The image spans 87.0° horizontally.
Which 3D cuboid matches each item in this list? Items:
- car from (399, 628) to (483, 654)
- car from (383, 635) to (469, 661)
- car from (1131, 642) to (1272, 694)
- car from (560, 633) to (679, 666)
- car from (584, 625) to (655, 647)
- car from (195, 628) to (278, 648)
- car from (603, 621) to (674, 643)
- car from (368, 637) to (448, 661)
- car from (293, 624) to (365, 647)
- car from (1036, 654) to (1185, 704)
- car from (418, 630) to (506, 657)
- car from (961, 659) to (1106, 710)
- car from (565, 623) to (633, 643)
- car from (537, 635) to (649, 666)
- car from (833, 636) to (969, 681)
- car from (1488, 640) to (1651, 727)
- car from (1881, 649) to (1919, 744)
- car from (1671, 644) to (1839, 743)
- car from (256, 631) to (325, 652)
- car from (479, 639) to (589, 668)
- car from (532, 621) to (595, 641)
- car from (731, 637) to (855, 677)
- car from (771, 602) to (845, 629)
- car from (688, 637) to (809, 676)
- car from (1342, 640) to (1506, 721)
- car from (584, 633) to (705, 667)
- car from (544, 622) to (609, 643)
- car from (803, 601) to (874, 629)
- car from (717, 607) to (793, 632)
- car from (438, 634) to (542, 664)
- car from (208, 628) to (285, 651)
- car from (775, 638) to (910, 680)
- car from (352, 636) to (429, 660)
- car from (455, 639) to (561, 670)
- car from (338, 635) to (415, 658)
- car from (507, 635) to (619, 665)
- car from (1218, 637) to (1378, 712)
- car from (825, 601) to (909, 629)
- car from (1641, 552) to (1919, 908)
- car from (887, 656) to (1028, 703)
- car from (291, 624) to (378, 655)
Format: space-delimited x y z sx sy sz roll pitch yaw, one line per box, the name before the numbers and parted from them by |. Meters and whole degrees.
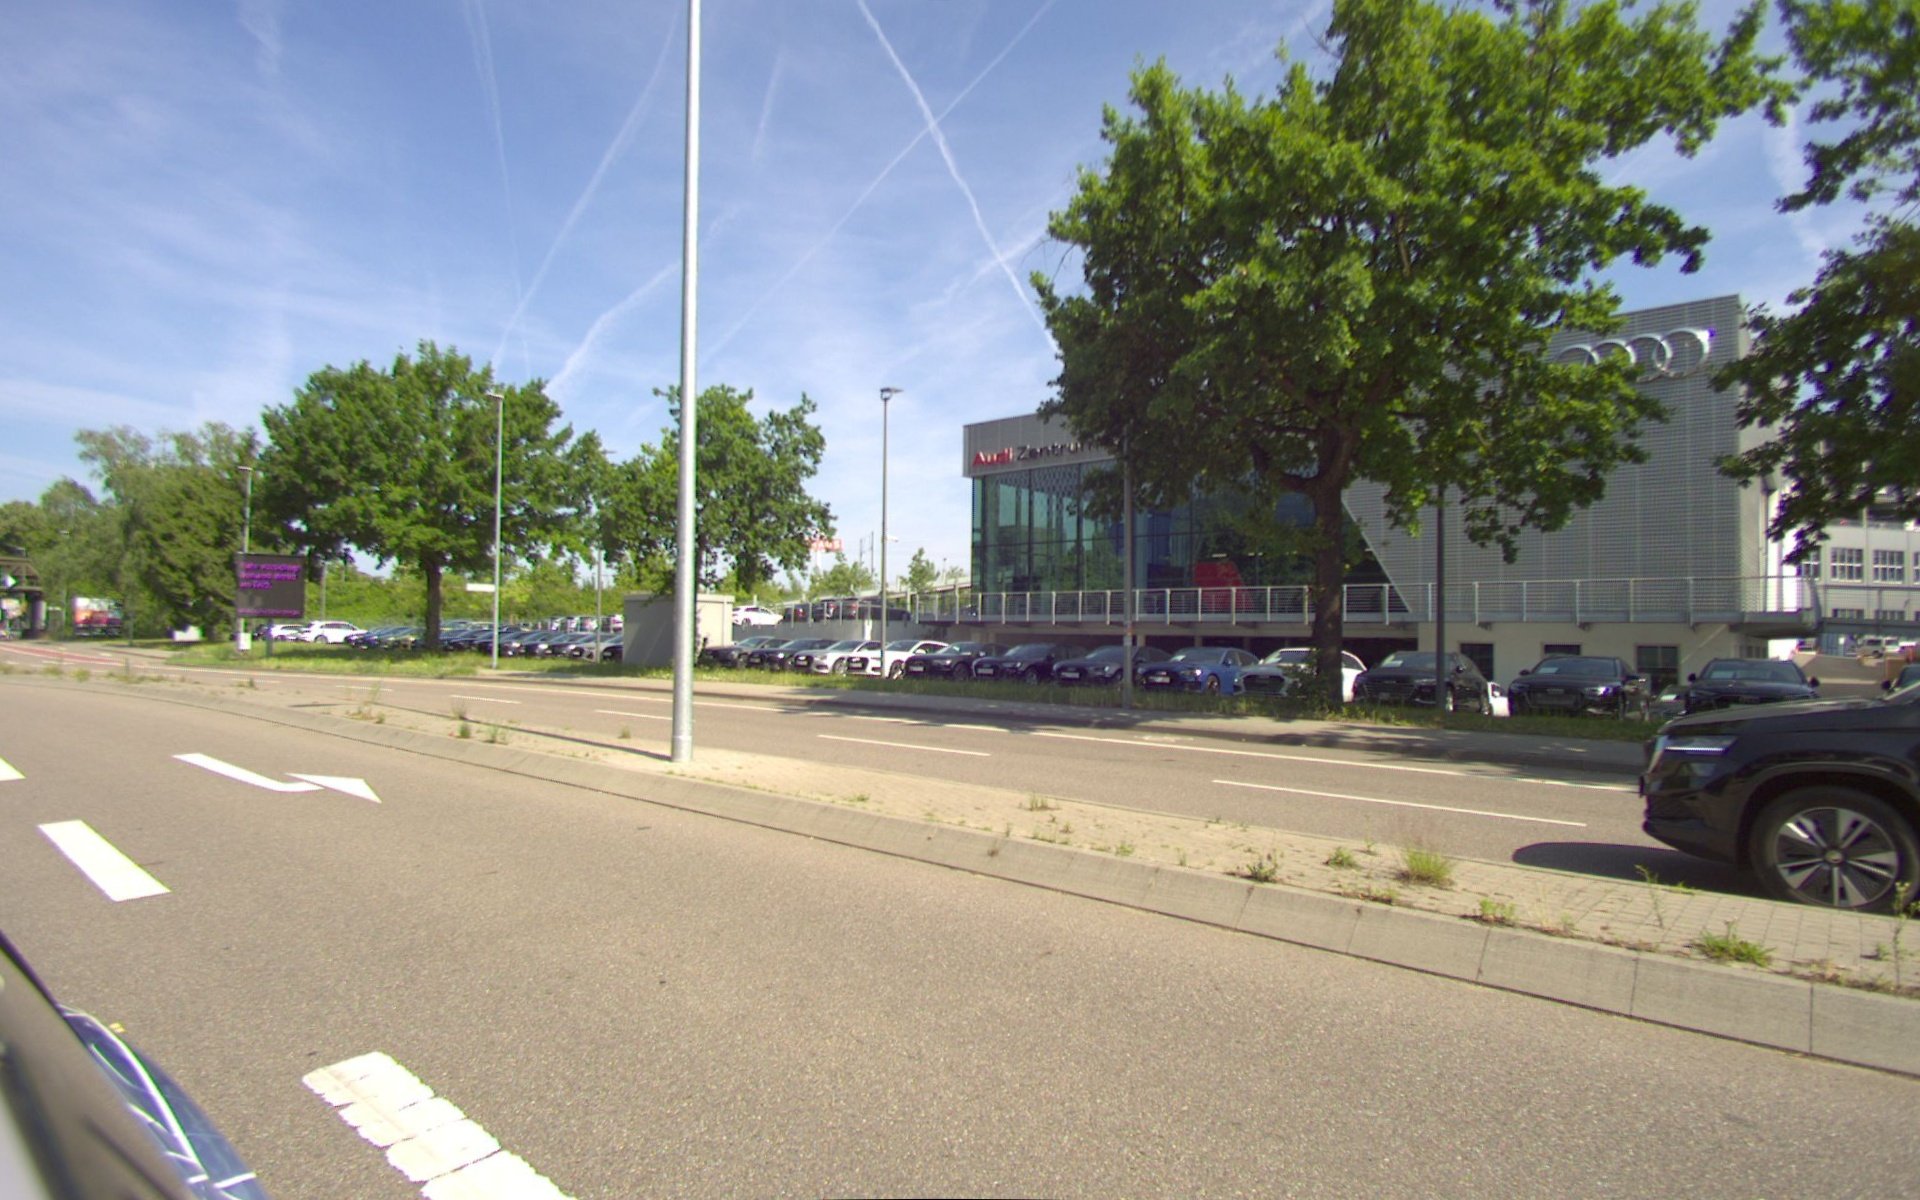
car | -28.327 2.246 55.298 1.863 1.295 3.558 -1 -5 39
car | -30.149 2.715 57.174 1.838 1.351 3.848 -1 -5 39
car | 5.867 1.663 24.279 1.695 1.042 4.067 -1 -6 39
car | -14.510 2.112 43.320 2.002 1.300 4.455 -1 -3 39
car | -24.561 2.603 73.154 1.978 1.496 4.455 -1 -3 39
car | -53.422 2.776 74.788 1.999 1.400 4.638 -1 -2 41
car | -22.729 2.305 71.711 1.978 1.496 4.455 -1 -3 39
car | -31.990 2.856 58.725 1.661 1.295 3.705 -1 -5 39
car | -43.515 2.453 69.846 1.848 1.497 3.942 -2 -2 44
car | 3.953 2.060 26.044 1.953 1.086 4.132 -1 -6 39
car | -26.340 2.322 53.565 1.983 1.295 3.643 -1 -5 39
car | 2.080 2.337 27.782 1.953 1.199 4.132 -1 -6 39
car | -26.645 2.423 74.776 1.889 1.429 4.455 -1 -1 39
car | -16.225 2.237 44.937 1.690 1.300 4.455 -1 -3 39
car | -1.777 1.847 31.568 1.953 1.199 4.132 -1 -6 39
car | 11.818 1.649 19.512 1.999 1.453 4.095 -1 -7 41
car | 15.696 1.579 15.681 1.999 1.369 3.945 -1 -7 41
car | 13.800 1.637 17.500 2.050 1.453 4.260 -1 -6 41
car | -46.481 2.875 70.316 1.815 1.381 3.642 -1 -2 41
car | -20.368 2.537 48.529 1.917 1.300 4.455 -1 -3 39
car | -30.675 2.405 78.373 1.997 1.488 4.162 -1 -1 38
car | -5.685 1.972 34.831 1.895 1.165 3.947 -1 -6 39
car | -8.912 0.925 59.529 2.050 1.507 3.946 -1 -2 41
car | -7.566 2.052 36.550 1.895 1.165 3.947 -1 -6 39
car | 9.788 1.717 21.159 1.999 1.453 4.203 -1 -7 41
car | -12.945 2.062 41.738 1.917 1.300 4.455 -1 -3 39
car | -28.796 2.413 76.051 1.997 1.488 4.162 -1 -1 38
car | -6.903 0.856 57.678 1.667 1.507 3.946 -2 -2 40
car | -12.757 1.246 63.147 1.978 1.496 4.455 -1 -3 39
car | -24.125 2.504 52.097 1.978 1.487 4.455 -1 -3 39
car | -51.365 2.787 72.907 1.999 1.558 4.170 -2 -2 41
car | -3.795 1.962 33.342 2.085 1.165 4.132 -1 -6 39
car | -33.925 2.866 60.309 1.743 1.295 3.558 -1 -5 39
car | -22.573 2.700 50.634 1.917 1.487 4.455 -1 -3 39
car | -35.828 2.834 62.181 1.743 1.295 3.754 -1 -2 39
car | -18.249 2.305 46.652 1.917 1.300 4.455 -1 -3 39
car | 7.631 1.697 22.649 1.999 1.453 3.945 -1 -7 41
car | -5.071 0.831 55.618 1.985 1.507 4.473 -1 -2 40
car | 5.748 0.640 4.644 4.205 1.631 1.721 -1 -5 40
car | 0.004 2.360 29.752 1.953 1.199 4.132 -1 -6 39
car | -40.370 2.489 65.342 2.000 1.889 4.415 -2 -2 42
